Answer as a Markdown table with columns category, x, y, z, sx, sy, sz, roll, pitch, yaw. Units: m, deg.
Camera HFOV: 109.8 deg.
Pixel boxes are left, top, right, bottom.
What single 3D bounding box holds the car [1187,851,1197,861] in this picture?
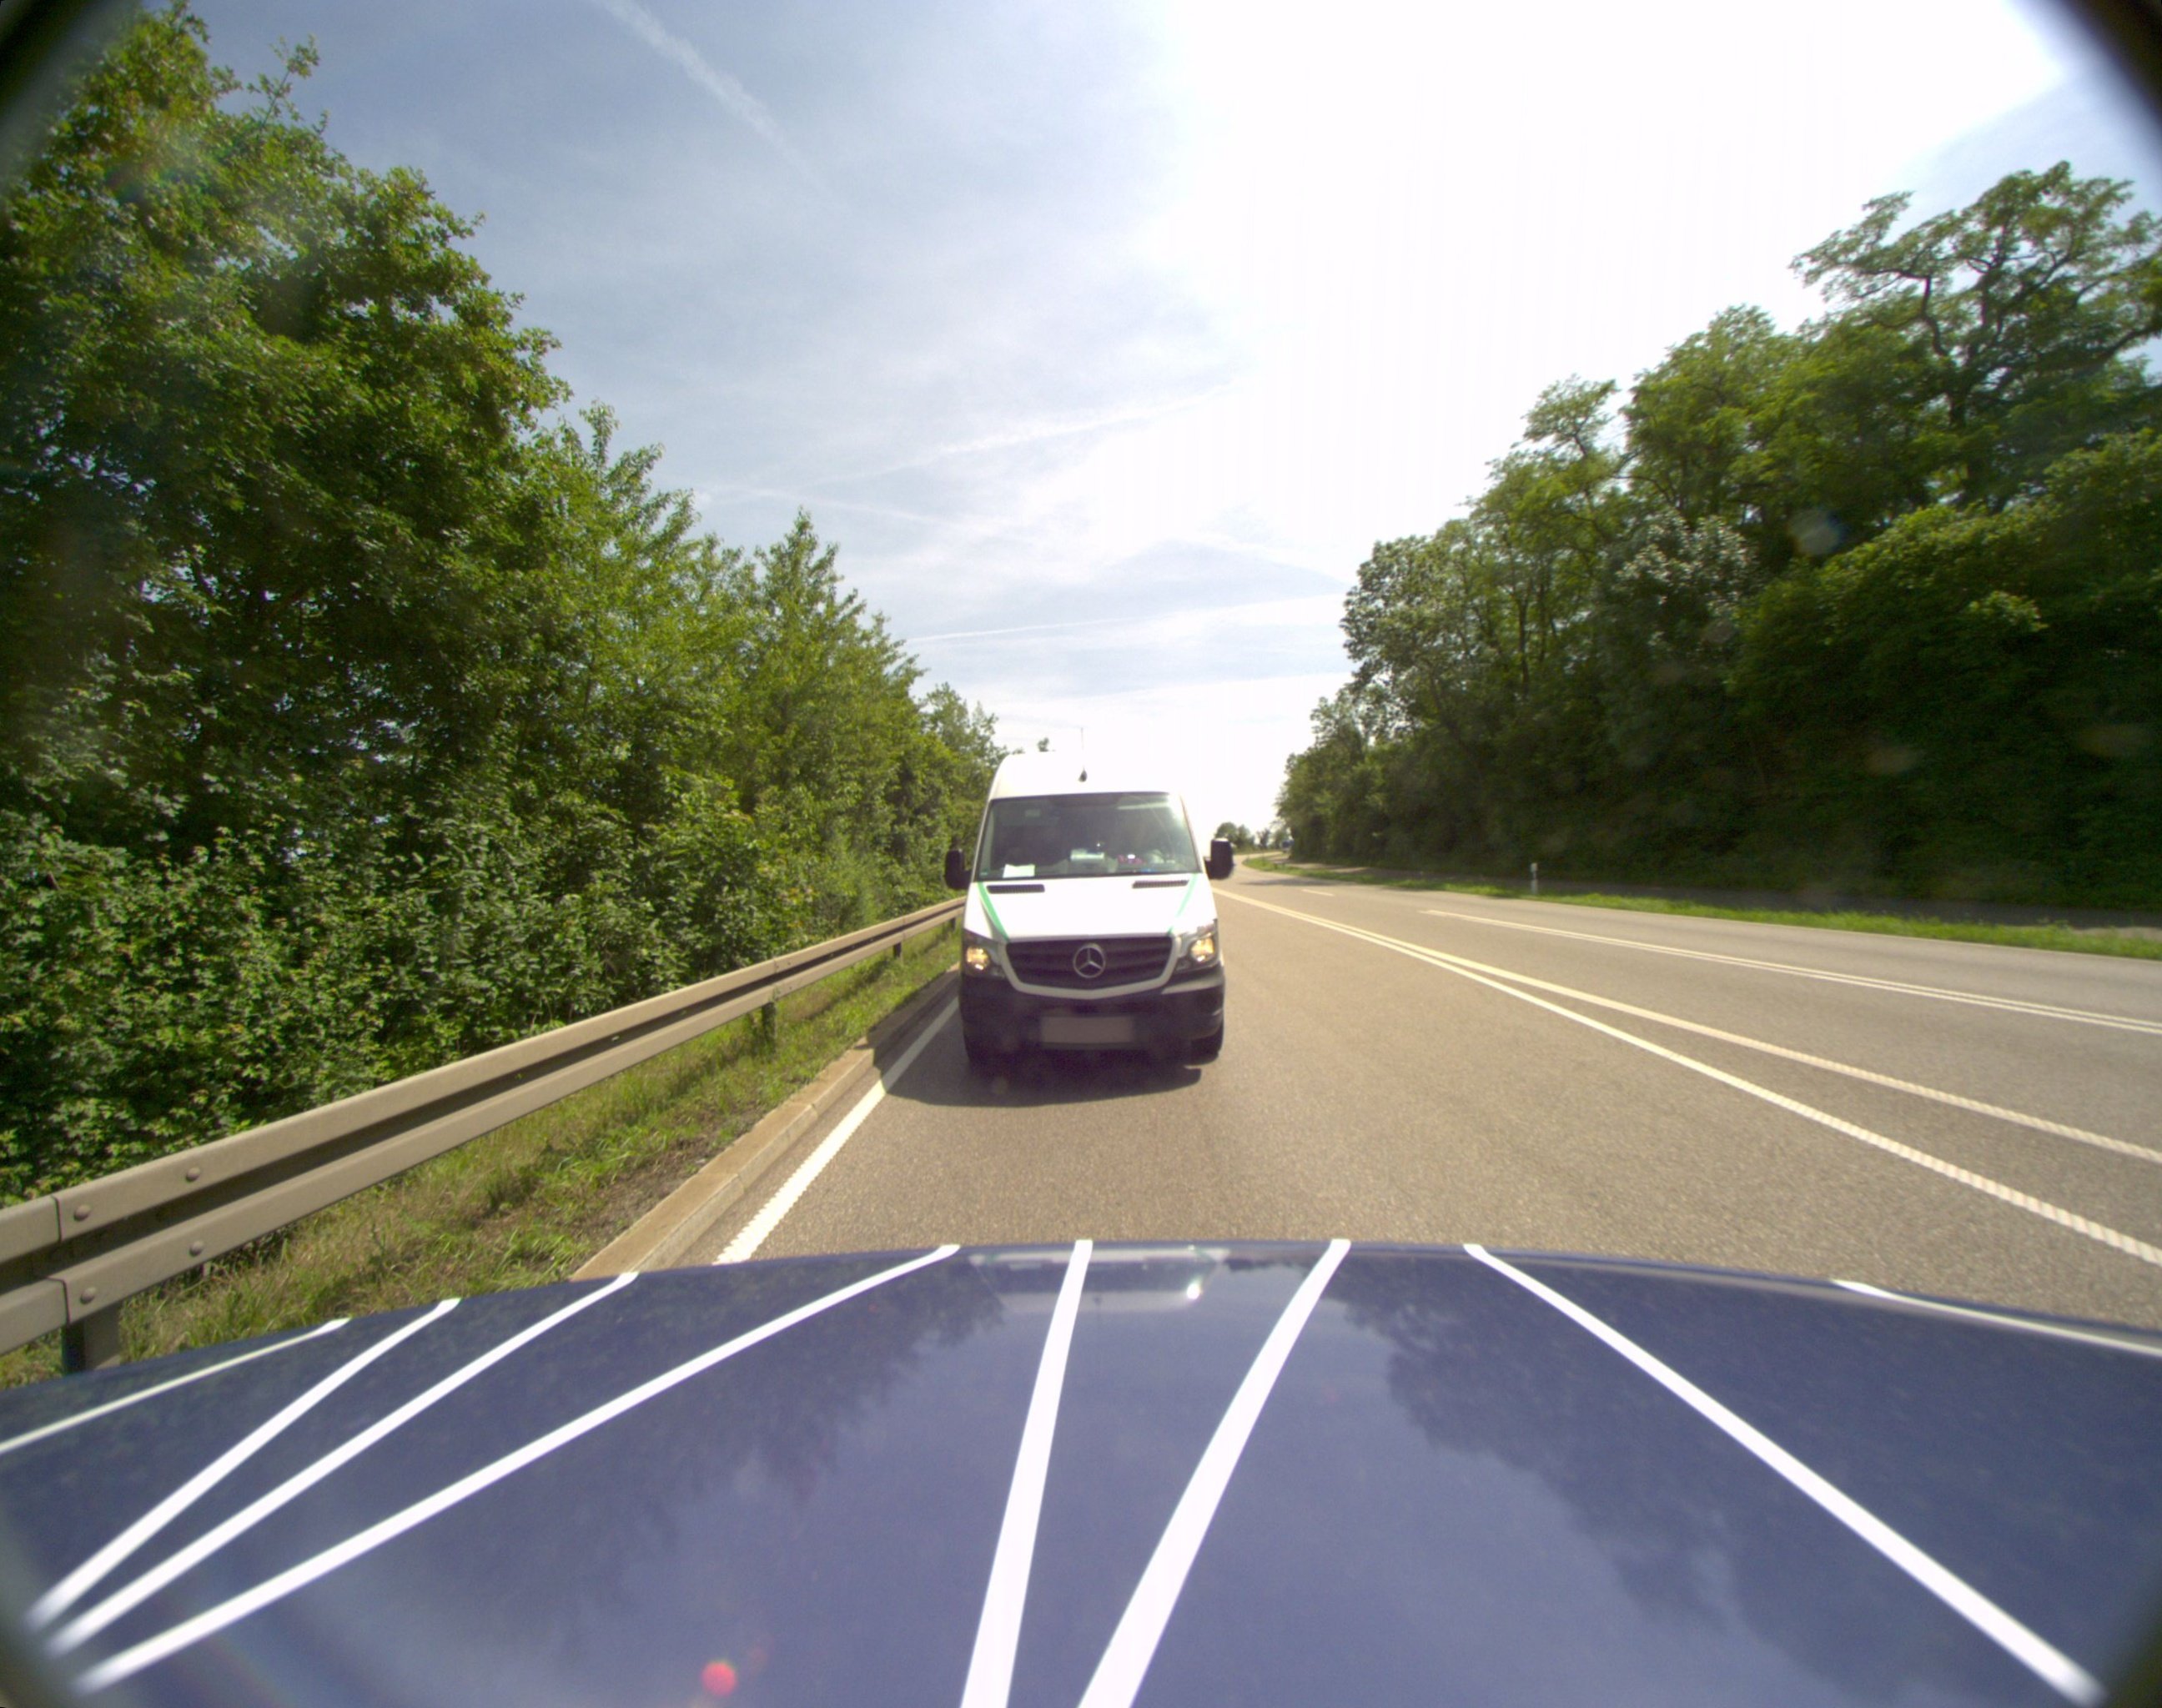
| category | x | y | z | sx | sy | sz | roll | pitch | yaw |
| --- | --- | --- | --- | --- | --- | --- | --- | --- | --- |
| car | 22.770 | 0.444 | 155.756 | 1.764 | 1.849 | 3.813 | -2 | 1 | 14 |

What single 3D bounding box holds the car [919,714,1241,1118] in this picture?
| category | x | y | z | sx | sy | sz | roll | pitch | yaw |
| --- | --- | --- | --- | --- | --- | --- | --- | --- | --- |
| car | 0.075 | 0.401 | 7.436 | 1.958 | 2.502 | 5.267 | -2 | 0 | 2 |

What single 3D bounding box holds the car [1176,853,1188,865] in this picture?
| category | x | y | z | sx | sy | sz | roll | pitch | yaw |
| --- | --- | --- | --- | --- | --- | --- | --- | --- | --- |
| car | 18.392 | 0.911 | 138.909 | 1.850 | 2.002 | 3.875 | -2 | 1 | 11 |

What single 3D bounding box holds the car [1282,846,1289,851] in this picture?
| category | x | y | z | sx | sy | sz | roll | pitch | yaw |
| --- | --- | --- | --- | --- | --- | --- | --- | --- | --- |
| car | 58.991 | -1.592 | 219.246 | 1.805 | 1.379 | 3.875 | -2 | 0 | 20 |
